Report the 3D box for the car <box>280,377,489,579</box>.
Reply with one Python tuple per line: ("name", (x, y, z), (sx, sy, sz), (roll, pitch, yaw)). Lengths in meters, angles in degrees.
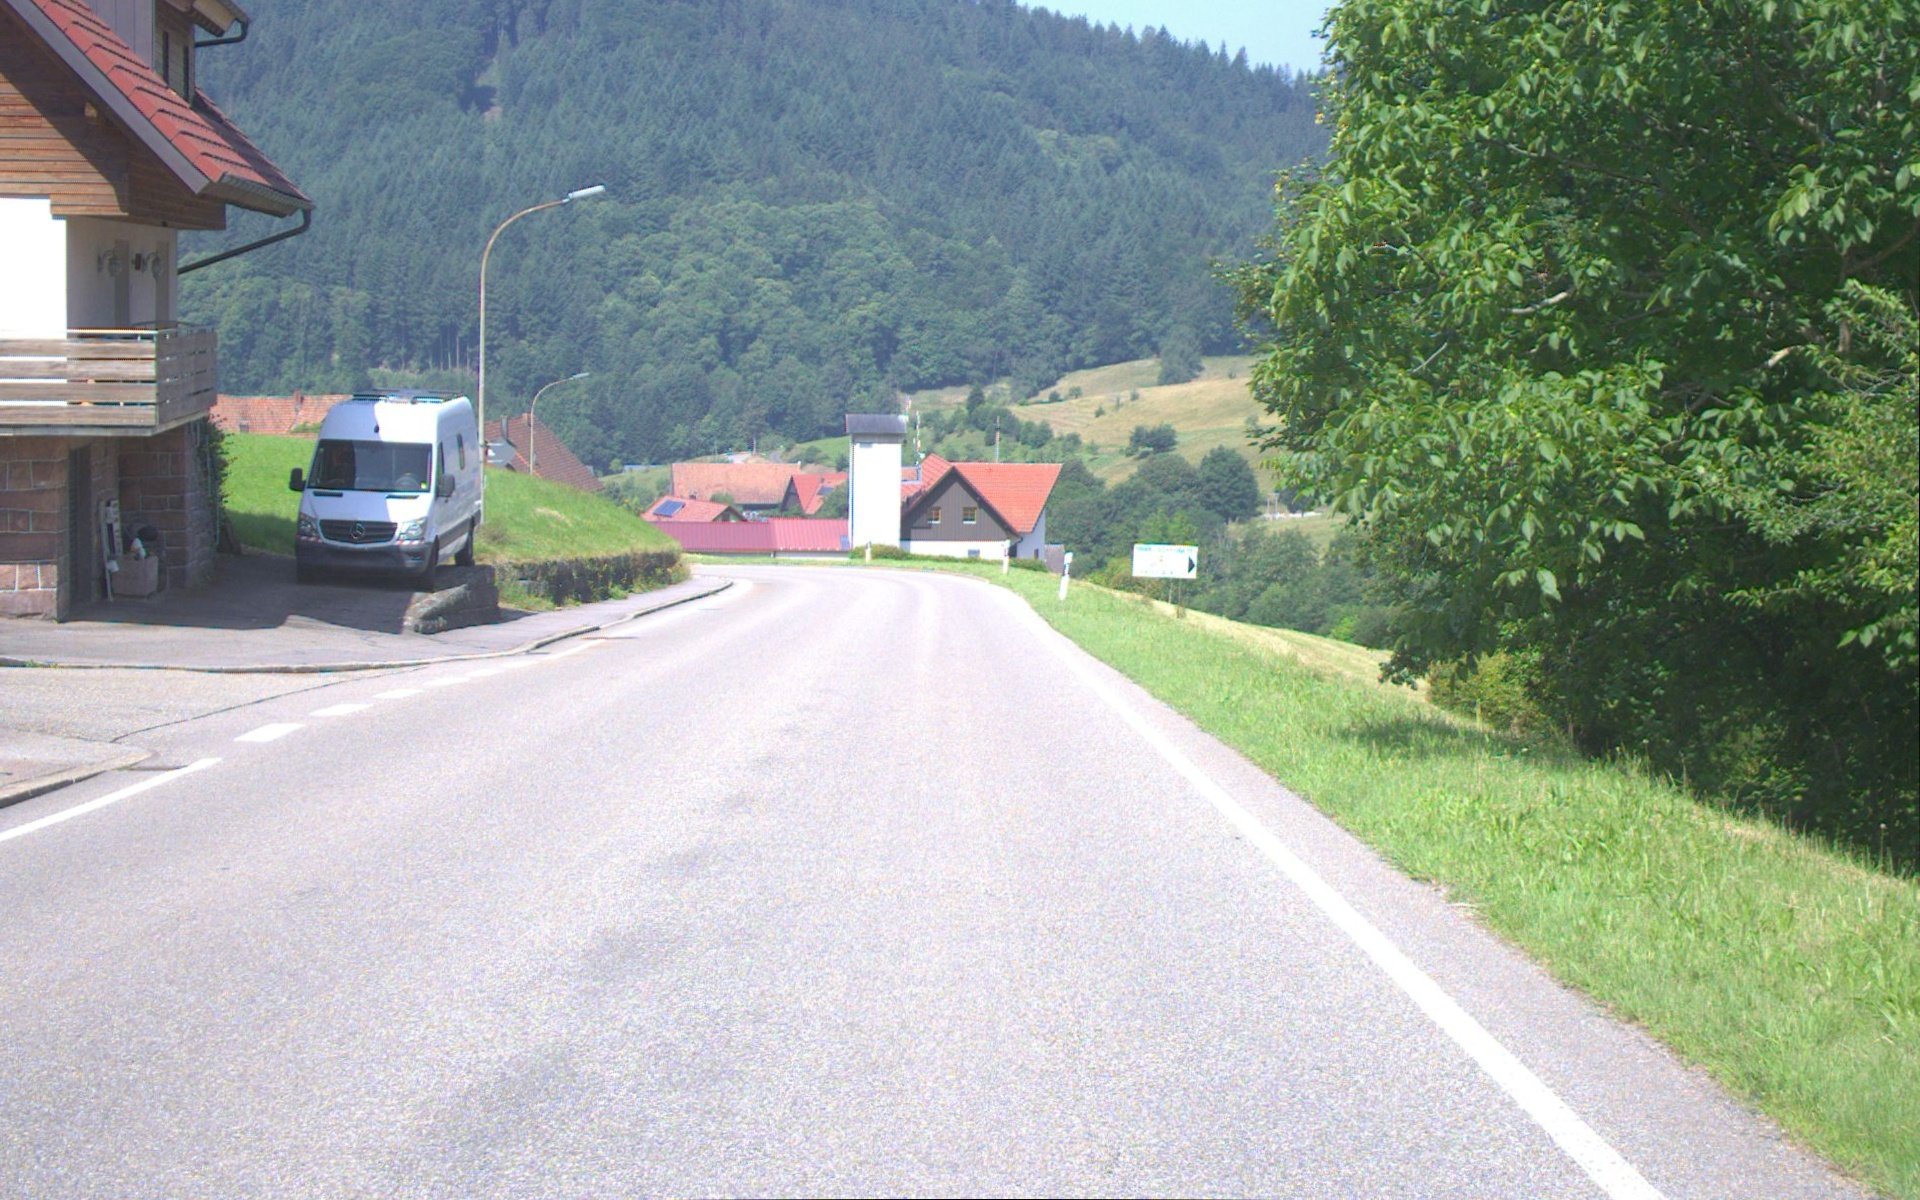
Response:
("car", (-8.497, -1.929, 51.382), (2.067, 2.679, 7.176), (1, 5, -1))
